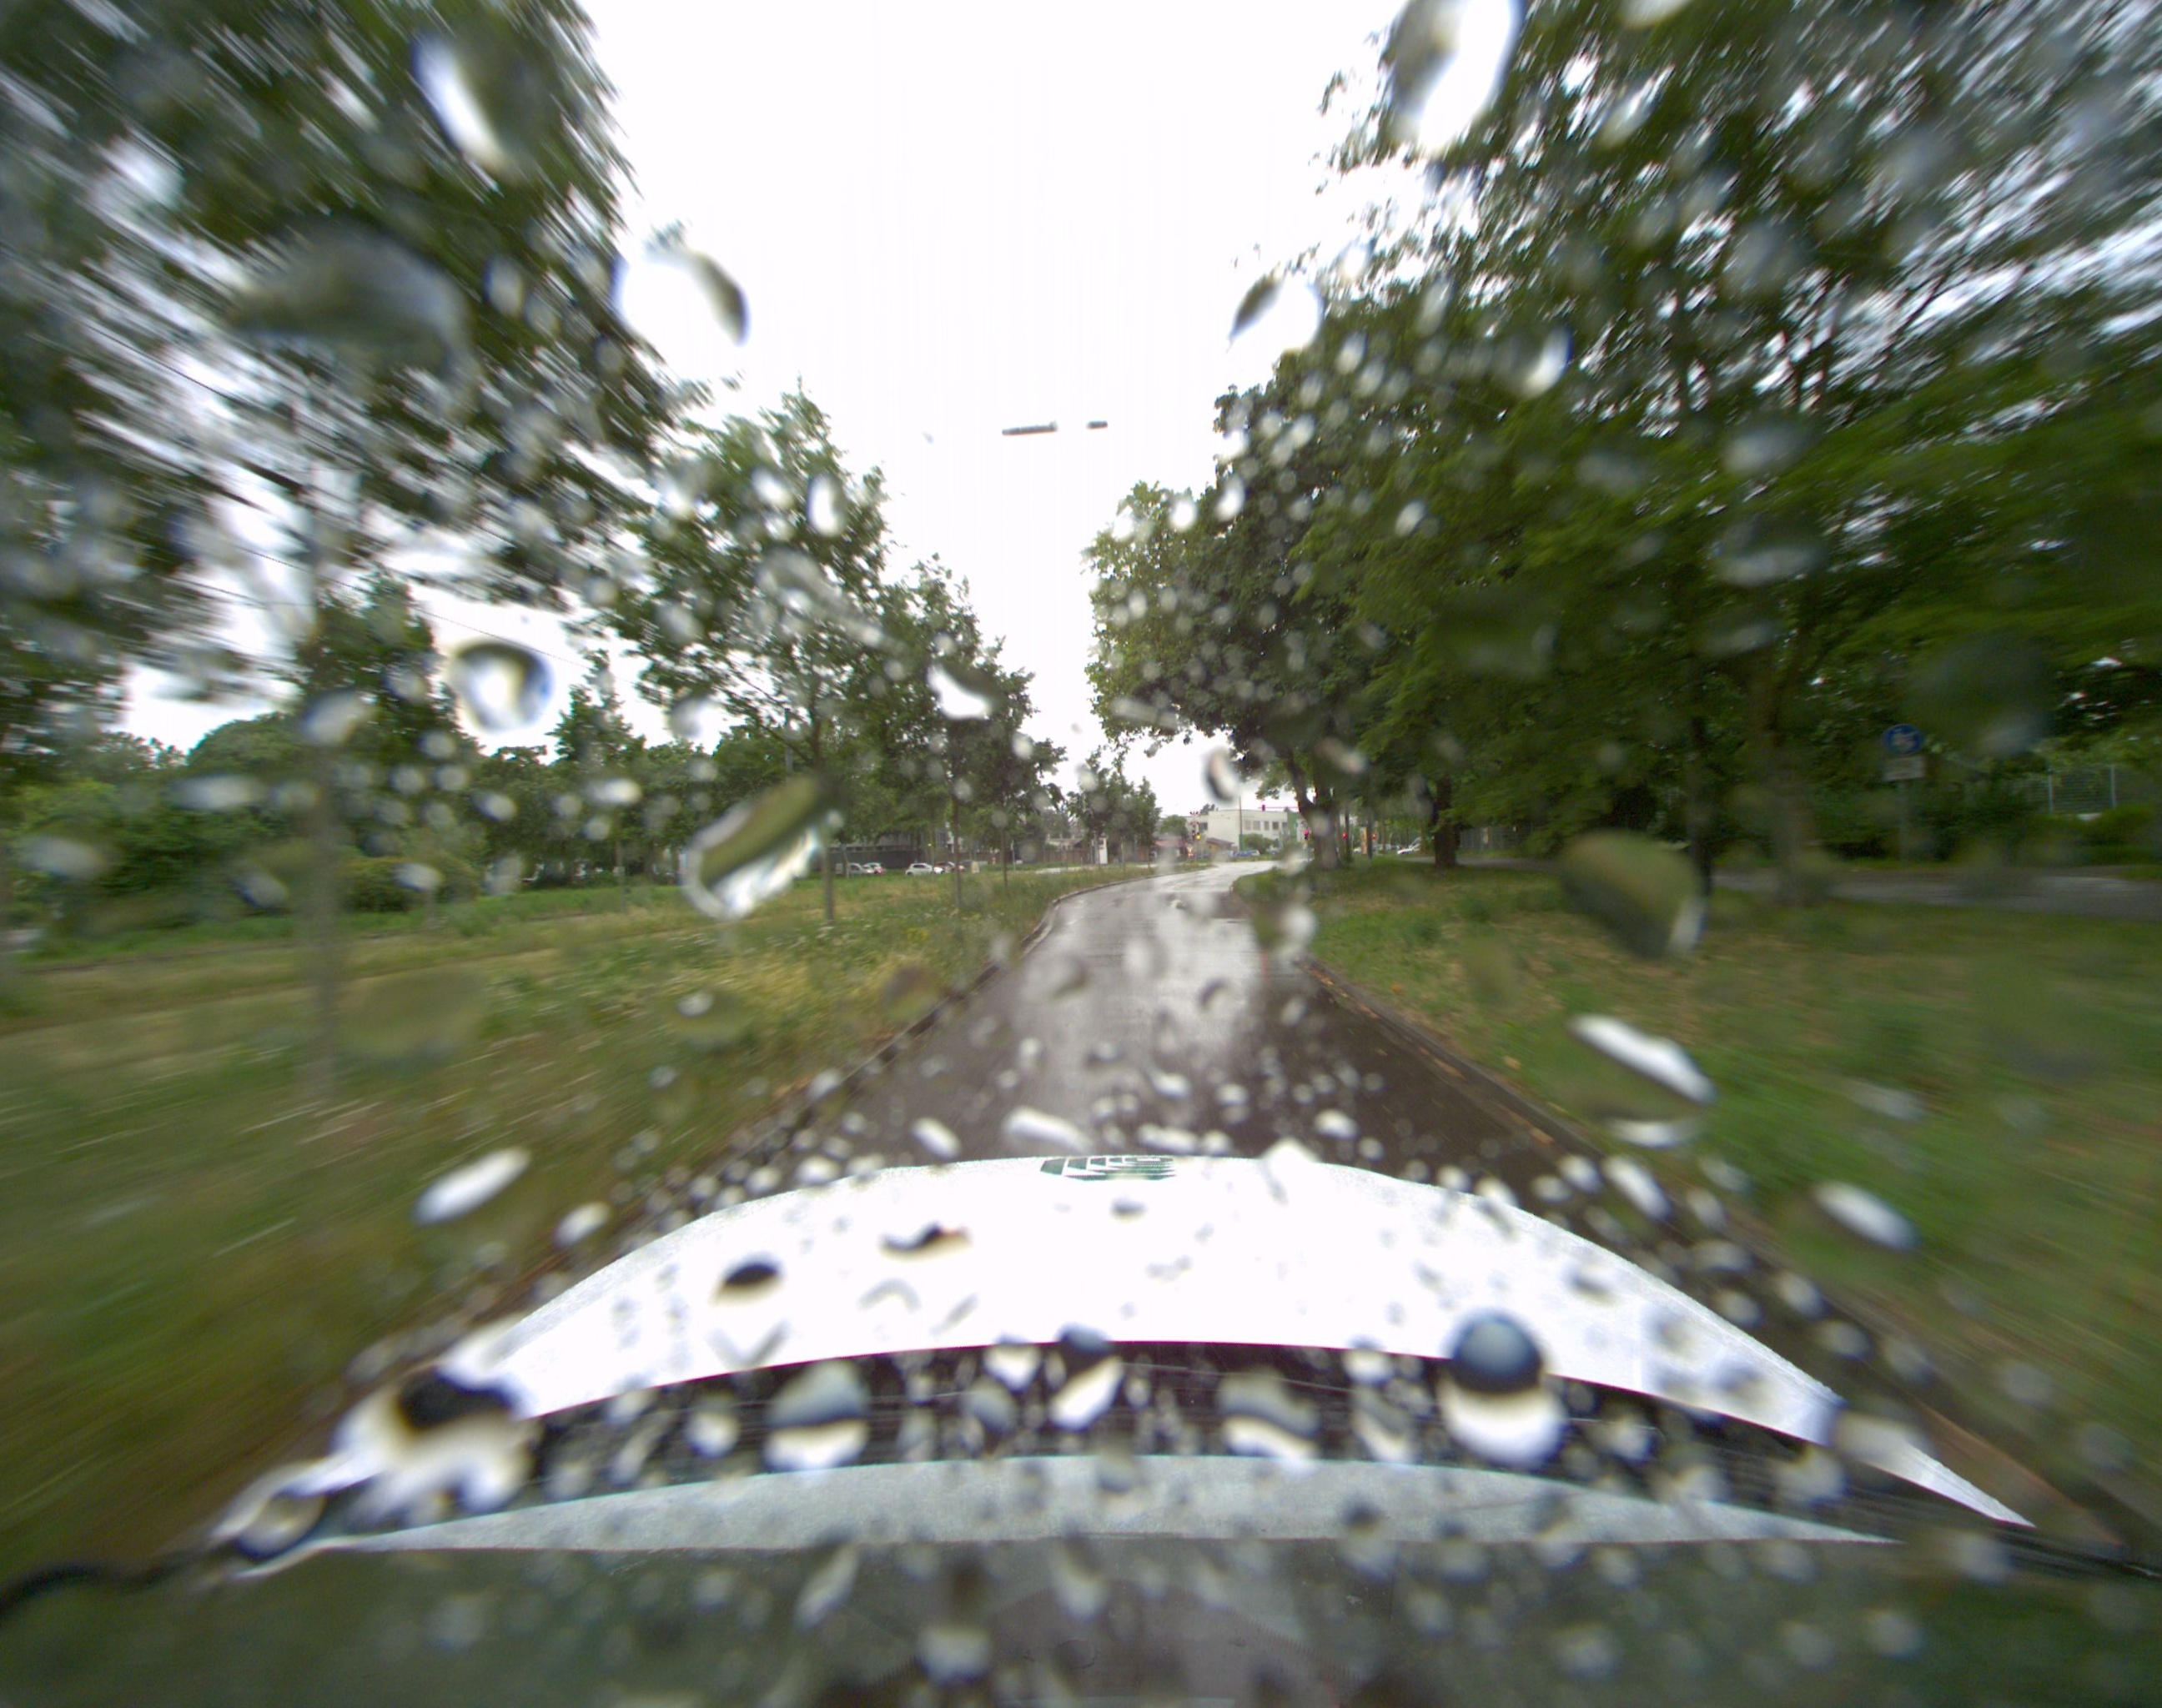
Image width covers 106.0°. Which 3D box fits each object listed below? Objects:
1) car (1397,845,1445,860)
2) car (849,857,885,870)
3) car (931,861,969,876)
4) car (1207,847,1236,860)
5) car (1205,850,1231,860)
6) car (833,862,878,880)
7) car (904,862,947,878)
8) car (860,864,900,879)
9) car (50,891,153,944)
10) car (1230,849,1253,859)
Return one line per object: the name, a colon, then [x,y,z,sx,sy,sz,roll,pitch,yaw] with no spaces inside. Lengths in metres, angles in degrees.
car: [35.479,-0.197,85.082,4.478,1.390,1.651,-2,-1,16]
car: [-26.506,1.209,100.847,3.969,1.420,1.540,-3,0,3]
car: [-14.554,1.638,90.480,3.798,1.499,1.655,-3,-1,6]
car: [22.346,-0.032,129.714,4.097,1.860,1.683,-3,-1,25]
car: [21.254,0.115,126.408,3.718,1.442,1.772,-3,-1,21]
car: [-24.347,1.826,88.003,4.186,1.796,1.656,-2,1,7]
car: [-16.572,1.685,86.863,4.044,1.499,1.655,-3,-1,6]
car: [-22.539,1.976,91.374,3.891,1.498,1.653,-2,1,3]
car: [-42.919,2.724,35.803,2.010,2.013,3.954,-2,-1,-38]
car: [26.357,-0.054,133.619,3.725,1.442,1.768,-3,-1,12]
